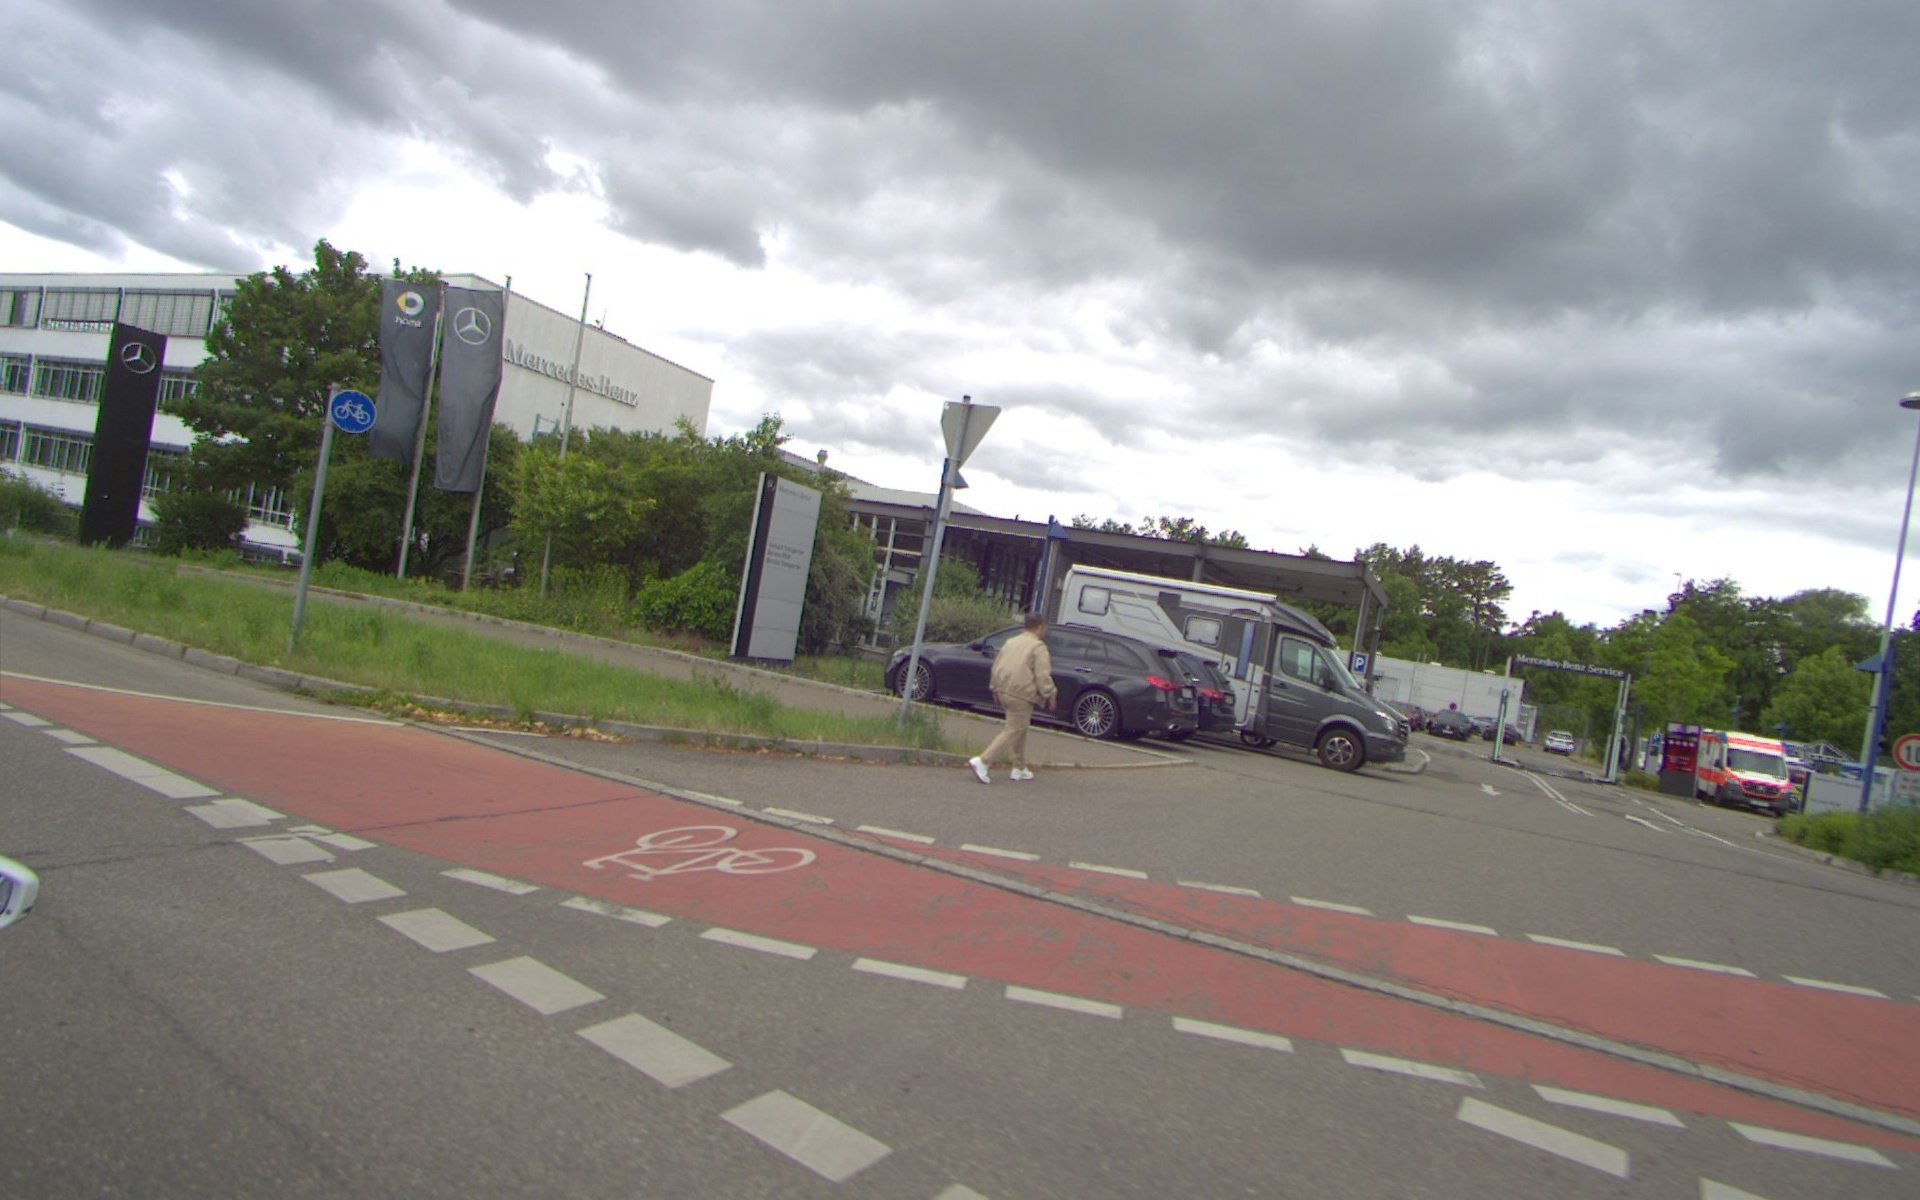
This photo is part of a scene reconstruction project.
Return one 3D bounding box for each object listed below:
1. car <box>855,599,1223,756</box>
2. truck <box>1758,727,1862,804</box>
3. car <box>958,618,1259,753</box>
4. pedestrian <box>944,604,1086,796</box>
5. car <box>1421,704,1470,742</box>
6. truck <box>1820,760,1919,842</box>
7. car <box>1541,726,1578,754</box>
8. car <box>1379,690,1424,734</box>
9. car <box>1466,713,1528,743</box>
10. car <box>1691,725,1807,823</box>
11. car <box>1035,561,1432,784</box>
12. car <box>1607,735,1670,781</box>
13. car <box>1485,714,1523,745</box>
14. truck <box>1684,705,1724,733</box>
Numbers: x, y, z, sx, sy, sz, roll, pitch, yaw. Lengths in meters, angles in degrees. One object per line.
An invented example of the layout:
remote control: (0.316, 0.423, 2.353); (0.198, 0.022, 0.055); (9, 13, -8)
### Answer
car: (1.091, 1.080, 14.668); (4.894, 1.432, 1.852); (8, -2, 29)
truck: (44.974, 8.670, 53.435); (2.694, 3.207, 6.361); (7, -1, 29)
car: (2.478, 1.422, 17.005); (4.536, 1.431, 1.853); (8, -3, 29)
pedestrian: (0.517, 0.894, 9.249); (0.799, 1.586, 0.941); (6, 1, 33)
car: (26.993, 6.805, 56.054); (1.964, 1.636, 4.002); (10, -1, 23)
truck: (32.220, 6.938, 34.630); (2.694, 2.267, 5.445); (7, -3, 29)
car: (41.078, 9.583, 68.958); (1.966, 1.514, 3.996); (6, -2, 30)
car: (24.868, 6.279, 56.763); (1.964, 2.036, 4.002); (10, -1, 23)
car: (40.986, 9.751, 76.829); (3.932, 1.503, 1.998); (10, -1, 30)
car: (28.735, 6.216, 36.897); (2.184, 2.788, 6.319); (9, 0, 31)
car: (5.042, 1.258, 18.946); (6.606, 2.848, 2.001); (10, -2, 27)
car: (34.291, 7.950, 50.941); (1.965, 1.637, 3.997); (10, 0, 28)
car: (37.027, 8.796, 68.448); (1.966, 1.636, 3.997); (10, -1, 30)
truck: (62.591, 10.008, 84.685); (1.966, 2.037, 3.998); (6, -2, 28)
